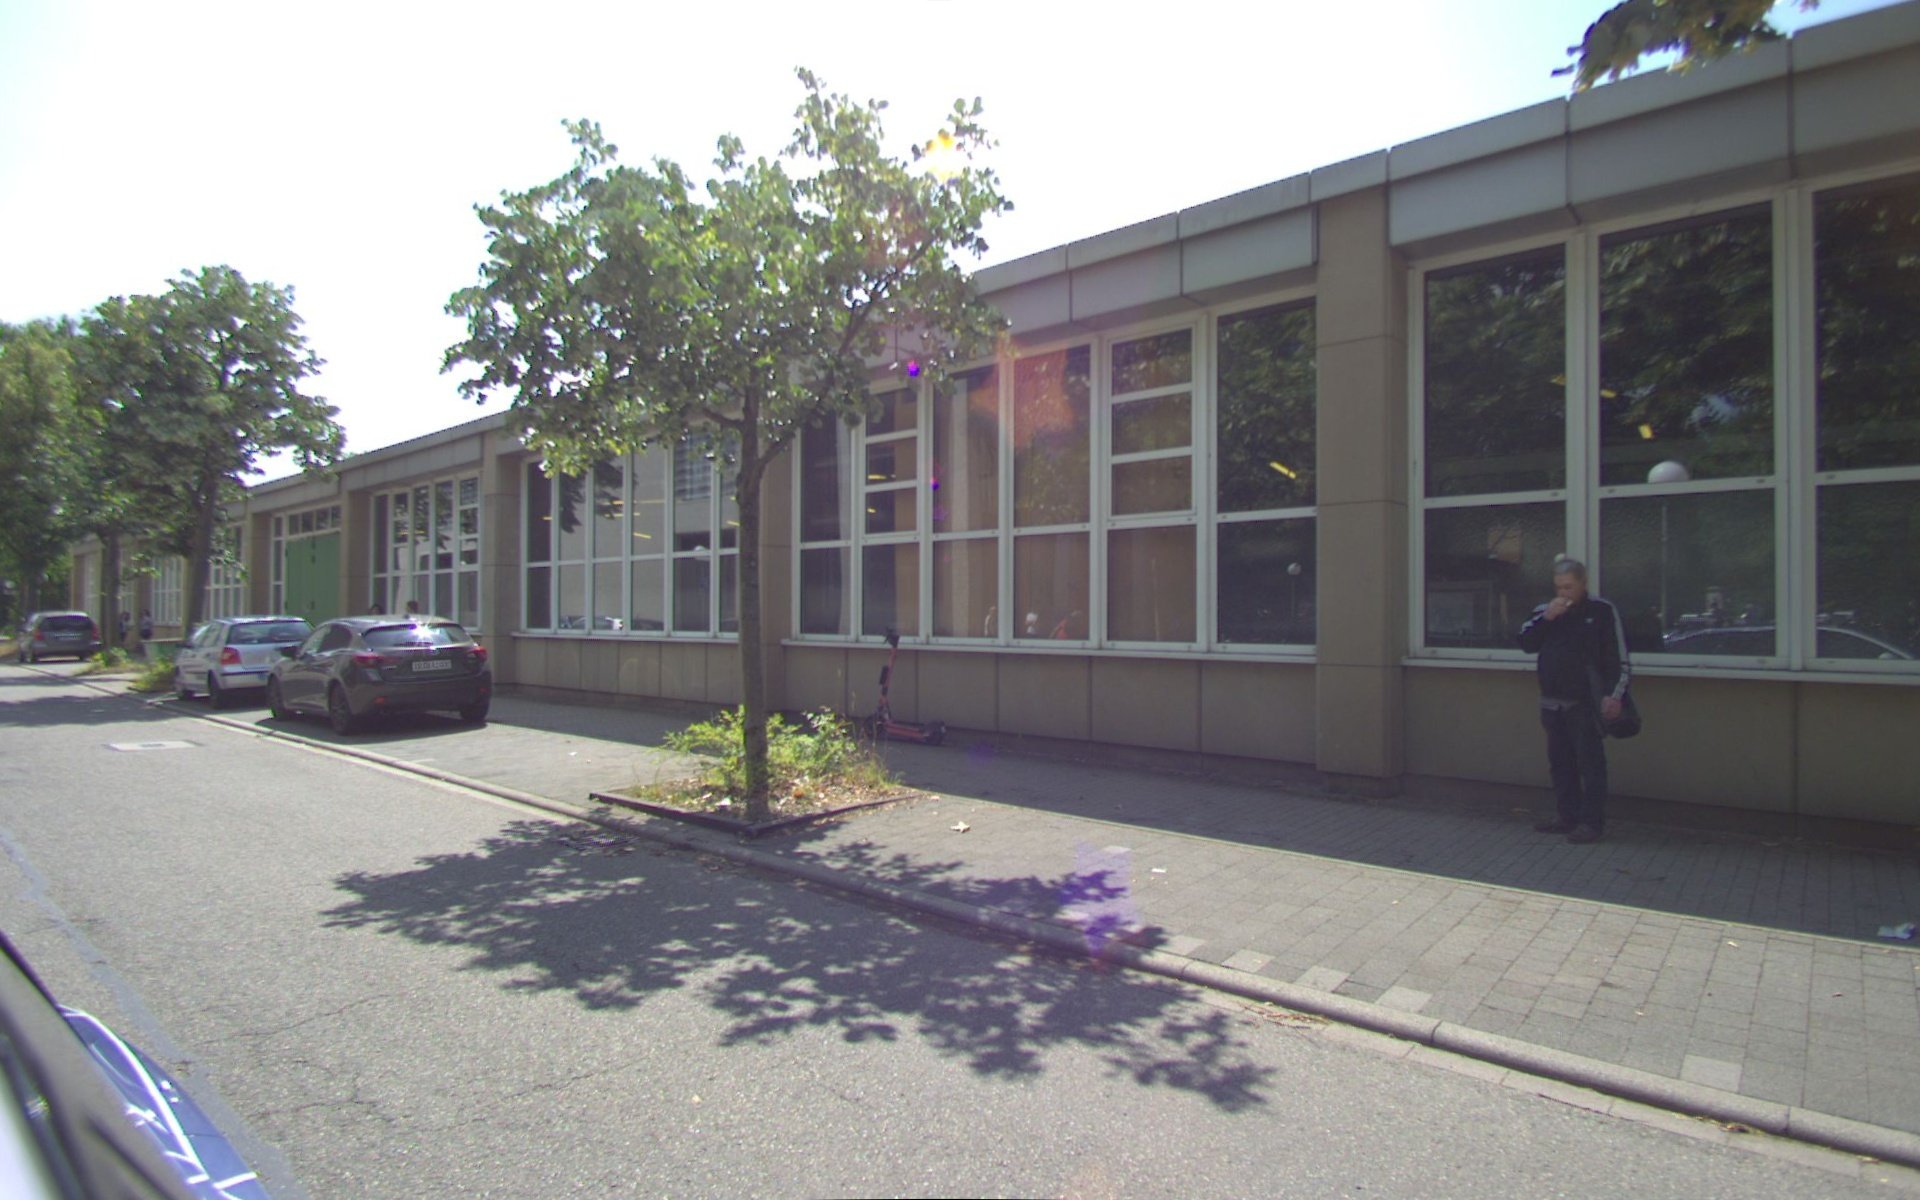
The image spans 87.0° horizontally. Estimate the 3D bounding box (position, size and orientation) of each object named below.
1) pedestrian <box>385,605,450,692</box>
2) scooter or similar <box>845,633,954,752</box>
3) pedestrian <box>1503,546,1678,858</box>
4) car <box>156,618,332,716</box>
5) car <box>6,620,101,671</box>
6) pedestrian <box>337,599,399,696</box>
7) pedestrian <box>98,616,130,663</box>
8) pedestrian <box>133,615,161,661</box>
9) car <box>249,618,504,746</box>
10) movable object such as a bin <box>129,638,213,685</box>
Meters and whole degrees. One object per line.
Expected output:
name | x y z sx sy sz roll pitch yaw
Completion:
pedestrian | -9.916 0.882 18.518 0.790 1.553 0.661 0 -2 15
scooter or similar | -0.672 0.985 11.062 1.245 1.216 0.378 -2 -1 41
pedestrian | 3.959 0.597 6.358 0.790 1.801 0.661 -2 -1 41
car | -12.420 1.077 17.484 3.750 1.460 1.613 -1 1 41
car | -28.935 1.415 32.277 3.674 1.460 1.780 -1 1 41
pedestrian | -10.835 0.858 18.531 0.785 1.741 0.602 0 -2 -9
pedestrian | -29.094 1.358 34.813 0.595 1.593 0.553 2 -4 -18
pedestrian | -28.470 1.339 35.428 0.550 1.593 0.597 -2 -5 39
car | -8.085 1.026 13.848 4.287 1.446 1.707 -2 -1 41
movable object such as a bin | -18.486 1.423 23.705 1.695 0.992 1.278 -2 -1 42
